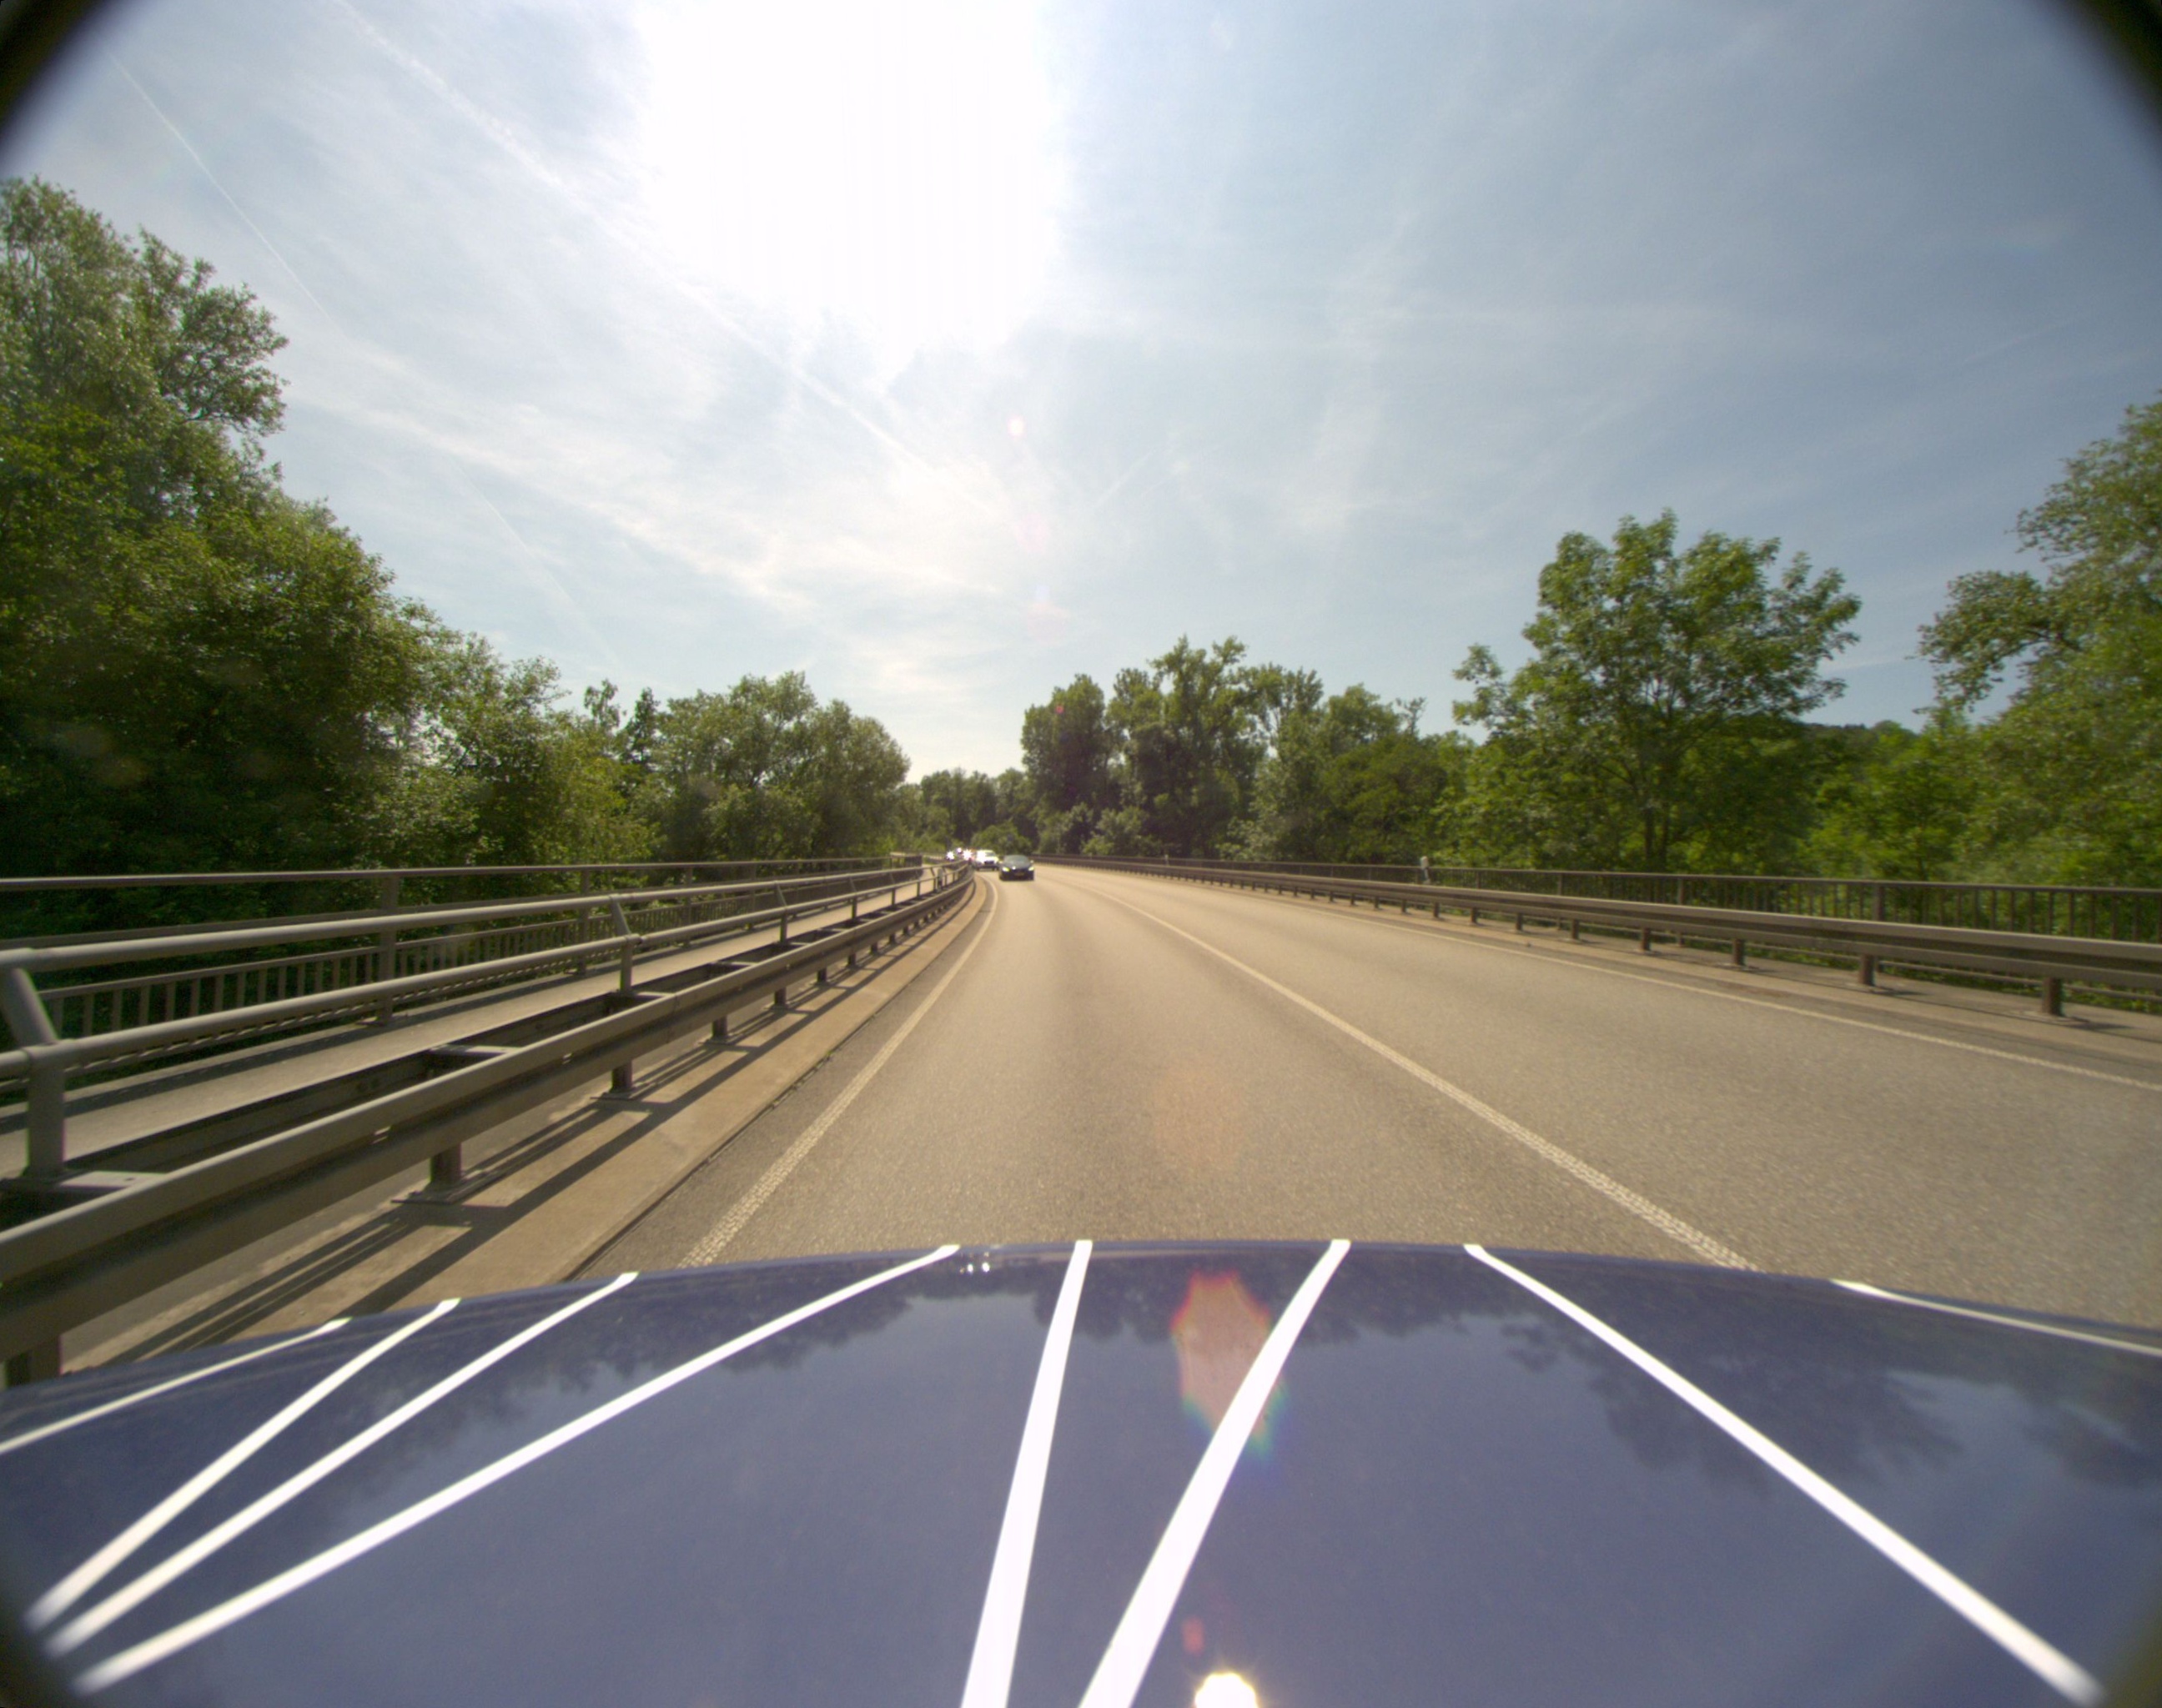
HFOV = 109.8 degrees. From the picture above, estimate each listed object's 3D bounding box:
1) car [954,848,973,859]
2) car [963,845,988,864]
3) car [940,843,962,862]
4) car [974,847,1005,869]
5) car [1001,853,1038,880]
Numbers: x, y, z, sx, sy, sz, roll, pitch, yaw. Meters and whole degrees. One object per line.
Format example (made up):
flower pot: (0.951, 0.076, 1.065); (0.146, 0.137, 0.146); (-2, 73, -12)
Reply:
car: (-16.040, -0.073, 103.837); (1.826, 1.515, 3.943); (-2, 1, -20)
car: (-10.246, 0.017, 73.554); (2.001, 1.765, 3.994); (-2, 1, -13)
car: (-14.920, -0.201, 86.980); (2.001, 2.002, 3.994); (-2, 1, -17)
car: (-7.498, 0.305, 61.965); (1.911, 1.638, 3.945); (-2, 1, -14)
car: (-3.580, 0.661, 43.552); (1.910, 1.413, 3.947); (-1, 1, -7)
